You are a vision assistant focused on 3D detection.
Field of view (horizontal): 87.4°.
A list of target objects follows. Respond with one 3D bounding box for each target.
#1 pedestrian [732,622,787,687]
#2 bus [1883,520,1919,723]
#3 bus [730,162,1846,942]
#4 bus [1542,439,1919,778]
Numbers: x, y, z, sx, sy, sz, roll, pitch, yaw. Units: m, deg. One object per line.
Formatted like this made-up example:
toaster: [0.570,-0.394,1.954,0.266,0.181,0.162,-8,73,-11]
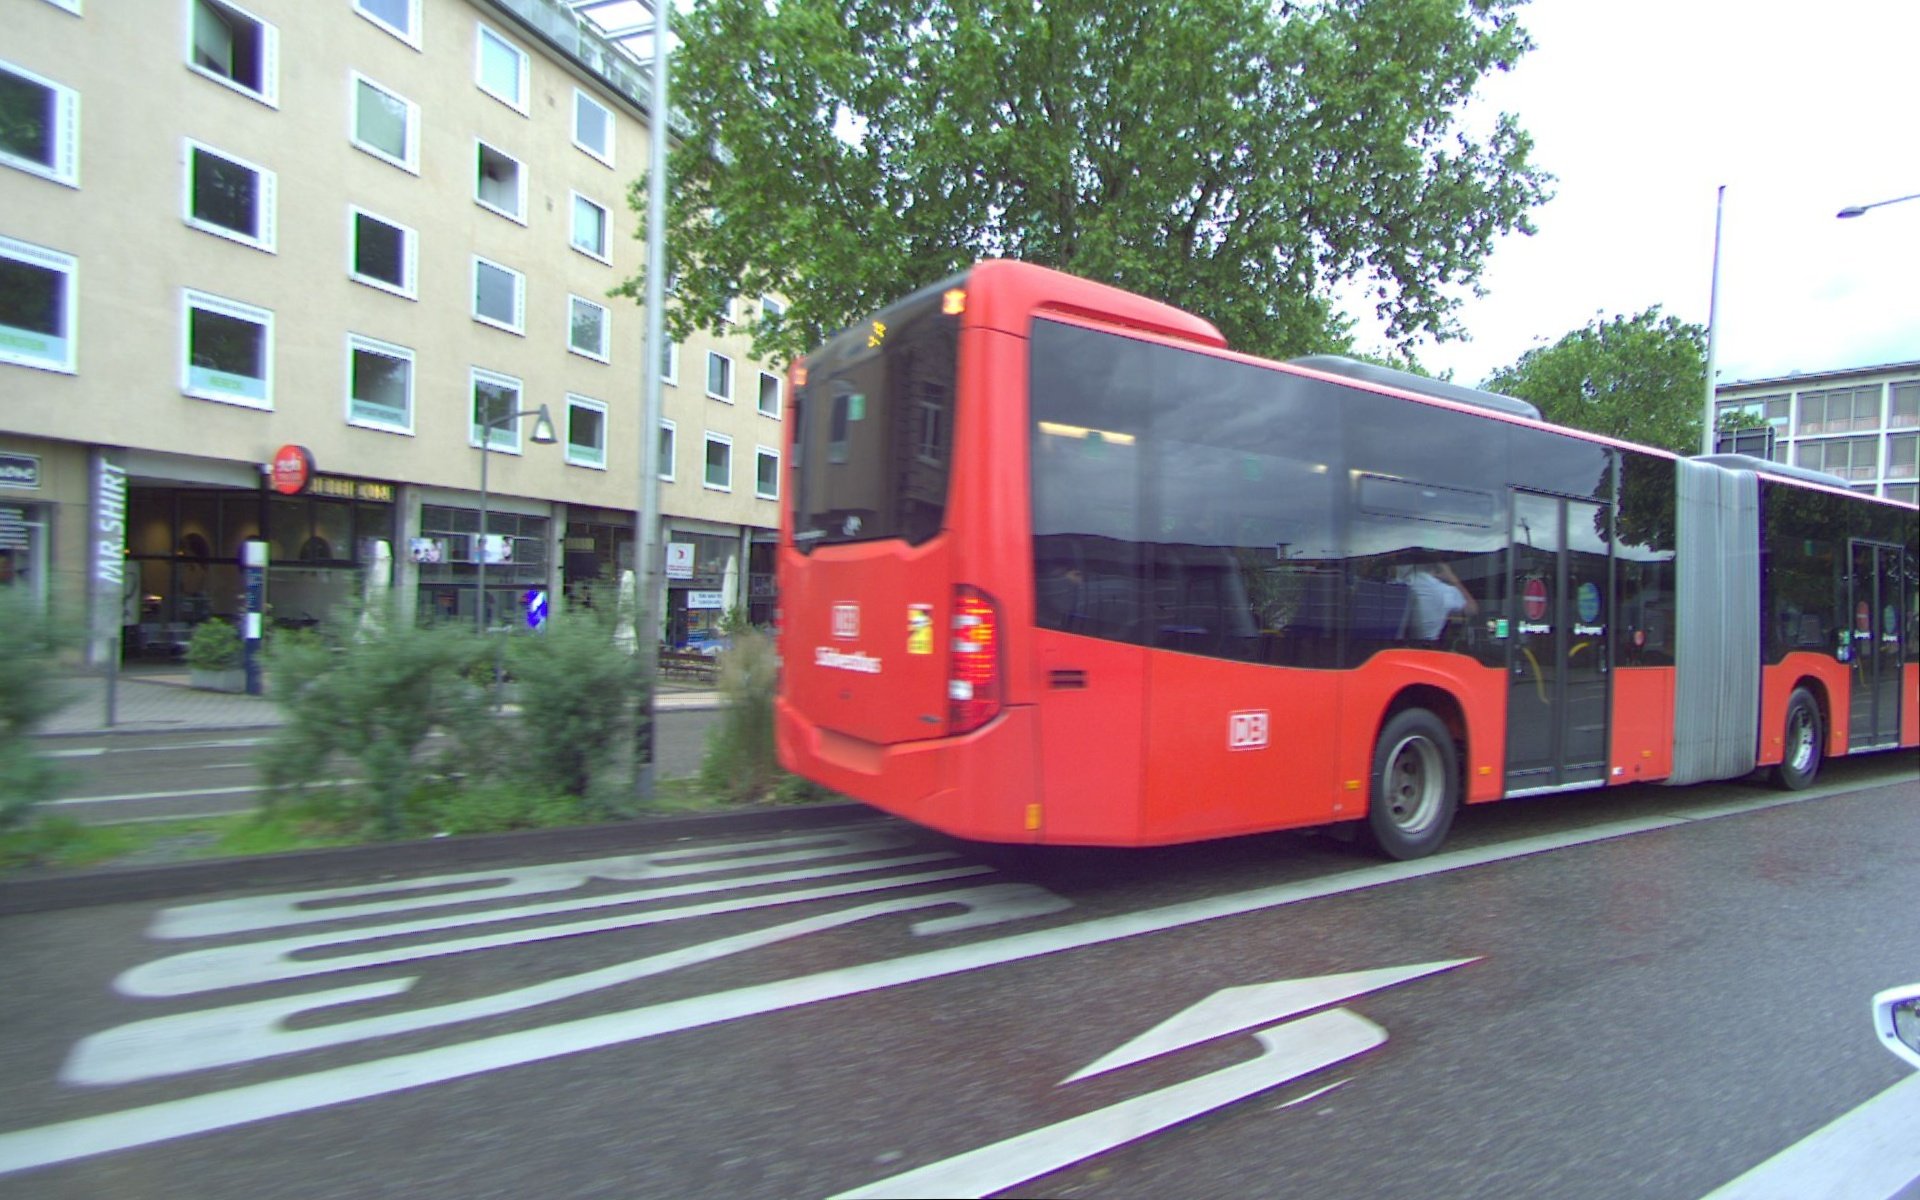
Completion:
pedestrian: [-5.121,1.383,25.711,0.983,1.582,0.969,2,0,17]
bus: [22.279,0.542,19.767,12.422,3.485,2.939,2,0,-33]
bus: [3.386,-0.089,8.022,9.801,3.289,2.795,2,0,-32]
bus: [11.291,0.183,12.829,8.740,3.174,2.739,2,0,-31]
